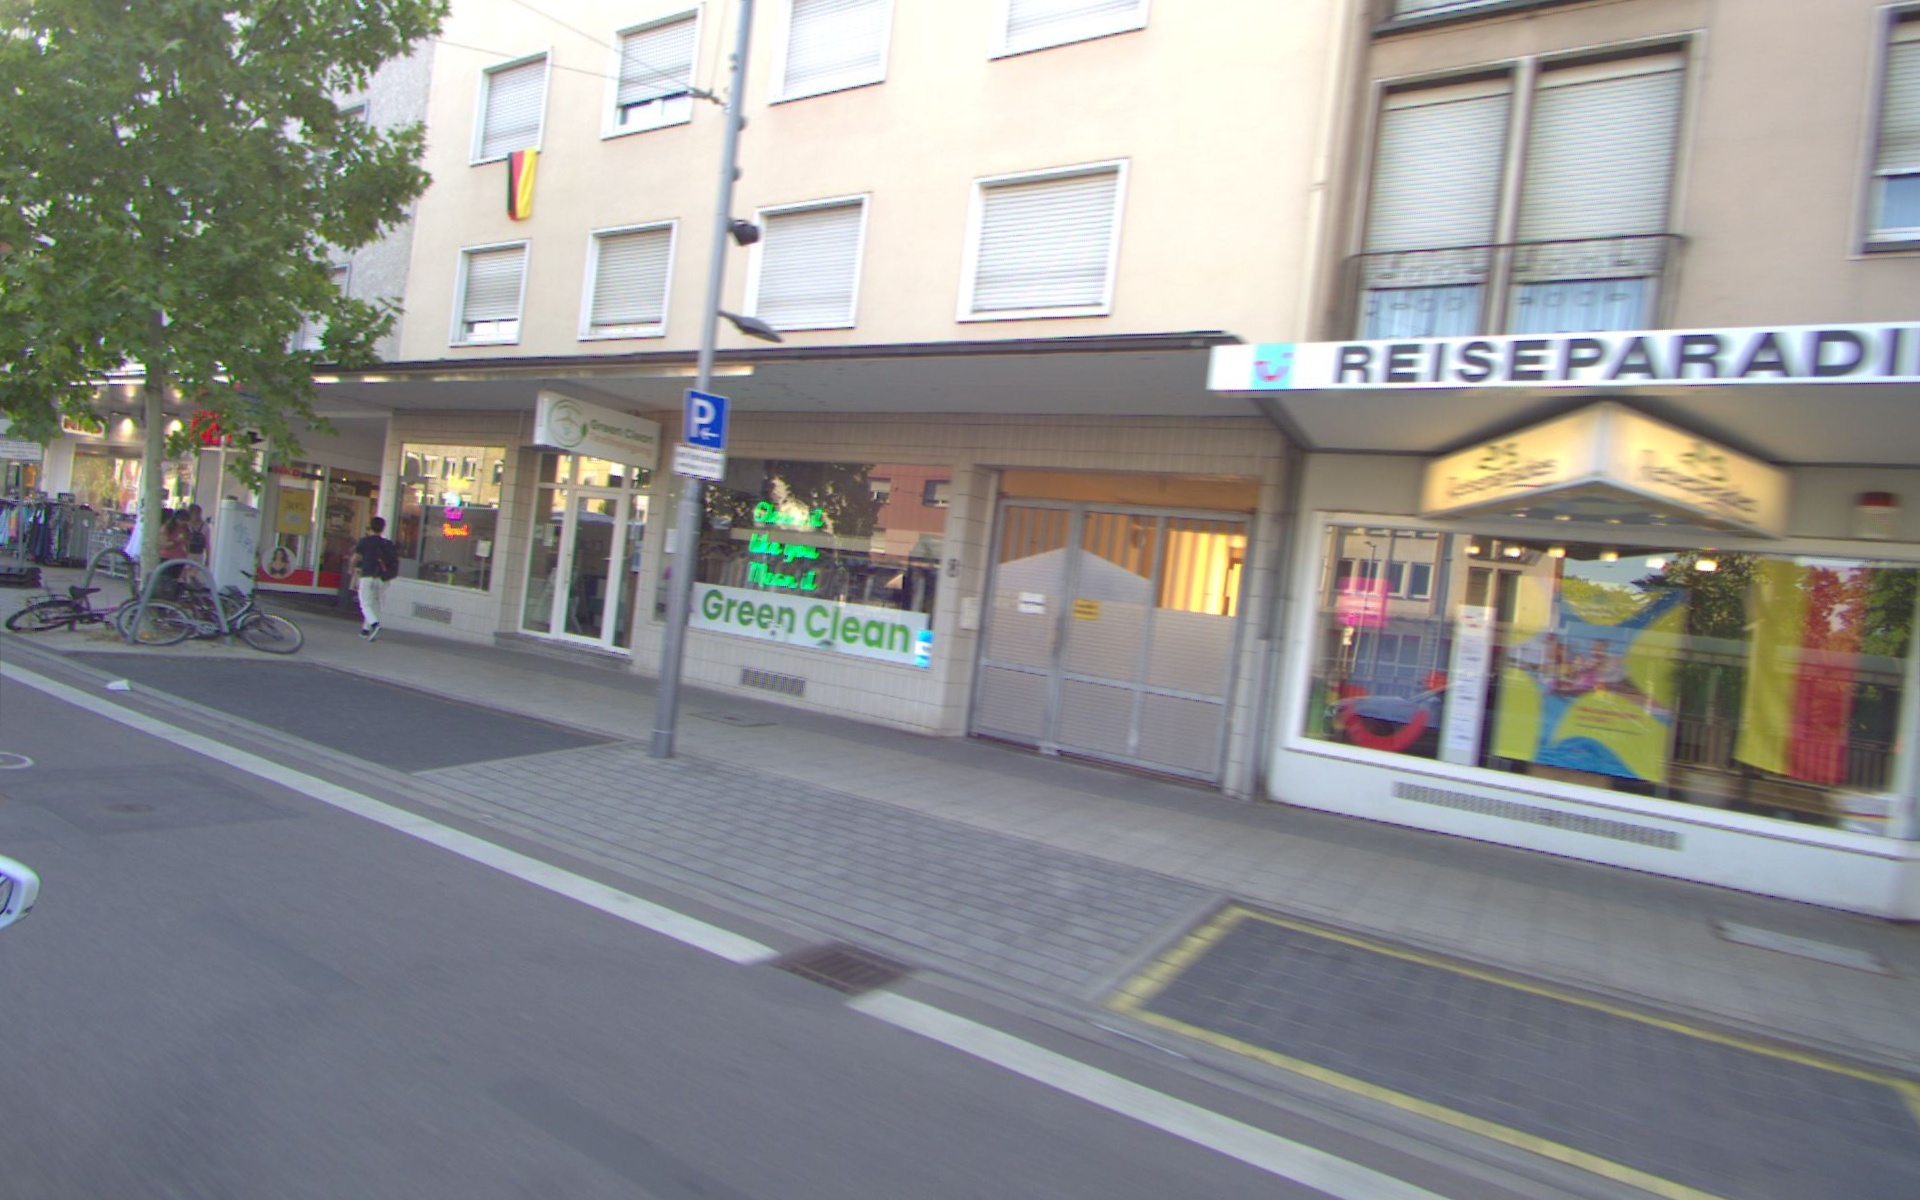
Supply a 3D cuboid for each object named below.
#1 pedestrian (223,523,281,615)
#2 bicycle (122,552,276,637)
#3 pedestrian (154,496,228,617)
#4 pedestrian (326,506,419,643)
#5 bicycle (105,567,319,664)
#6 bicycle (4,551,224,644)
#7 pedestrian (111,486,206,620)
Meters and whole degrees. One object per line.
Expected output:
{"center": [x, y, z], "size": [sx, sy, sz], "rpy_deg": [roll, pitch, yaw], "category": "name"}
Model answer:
{"center": [-11.604, -0.504, 16.488], "size": [0.601, 1.412, 0.475], "rpy_deg": [6, 0, 32], "category": "pedestrian"}
{"center": [-9.282, -0.044, 12.353], "size": [0.641, 0.954, 1.695], "rpy_deg": [-2, -1, -3], "category": "bicycle"}
{"center": [-12.177, -0.688, 15.931], "size": [0.754, 1.818, 0.565], "rpy_deg": [6, 0, 32], "category": "pedestrian"}
{"center": [-8.318, -0.353, 14.257], "size": [0.754, 1.818, 0.724], "rpy_deg": [6, 0, 31], "category": "pedestrian"}
{"center": [-8.462, 0.158, 11.459], "size": [0.780, 0.955, 1.783], "rpy_deg": [6, 3, 27], "category": "bicycle"}
{"center": [-9.995, -0.062, 12.001], "size": [0.927, 0.636, 1.786], "rpy_deg": [-30, 1, 2], "category": "bicycle"}
{"center": [-11.608, -0.671, 14.577], "size": [0.754, 1.818, 0.724], "rpy_deg": [6, 0, 31], "category": "pedestrian"}
